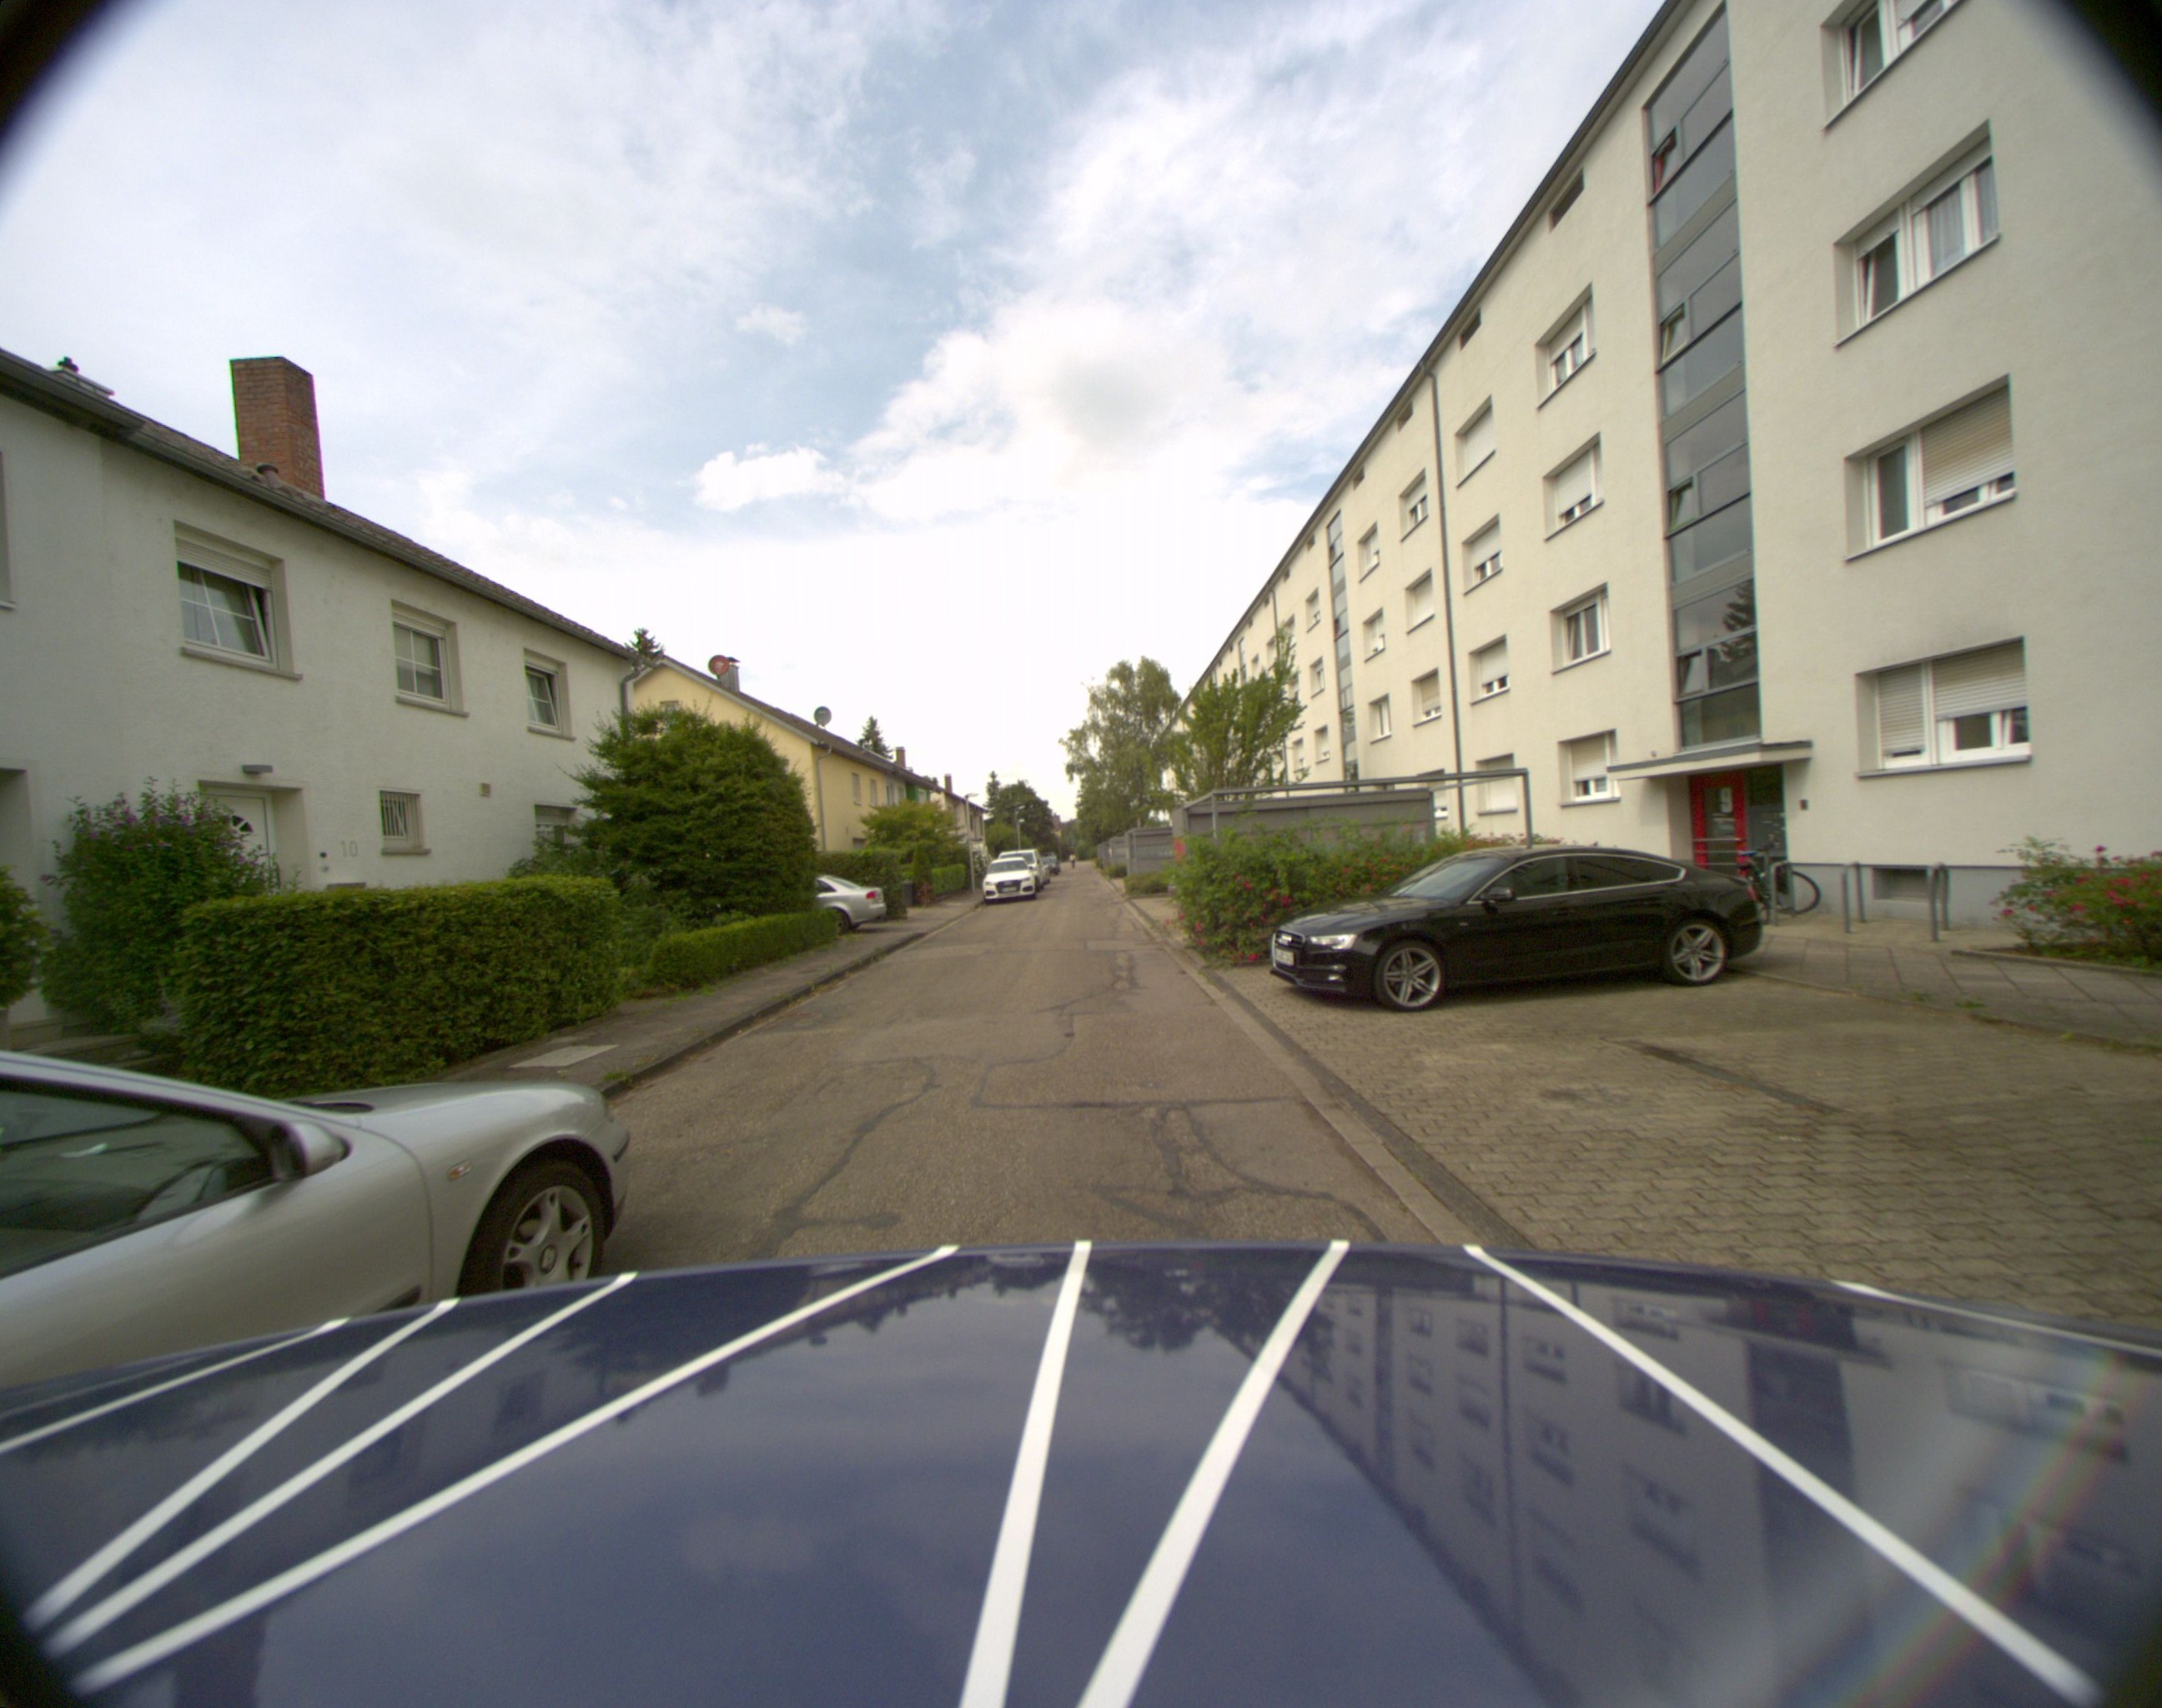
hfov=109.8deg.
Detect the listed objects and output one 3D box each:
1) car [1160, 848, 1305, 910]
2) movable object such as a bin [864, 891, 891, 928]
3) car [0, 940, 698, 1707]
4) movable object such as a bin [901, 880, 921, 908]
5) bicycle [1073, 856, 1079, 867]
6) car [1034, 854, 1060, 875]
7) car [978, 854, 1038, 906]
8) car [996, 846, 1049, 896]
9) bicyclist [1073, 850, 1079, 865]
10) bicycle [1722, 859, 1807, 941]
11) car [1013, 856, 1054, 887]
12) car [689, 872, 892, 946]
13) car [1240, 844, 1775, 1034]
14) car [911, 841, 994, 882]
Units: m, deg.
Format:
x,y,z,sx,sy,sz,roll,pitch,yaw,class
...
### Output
x,y,z,sx,sy,sz,roll,pitch,yaw,class
4.150,0.653,21.106,3.572,1.472,1.710,-3,1,-4,car
-5.403,1.463,20.215,0.511,0.916,0.500,-4,1,0,movable object such as a bin
-2.701,1.162,1.194,1.829,1.362,4.330,-6,0,1,car
-5.653,1.318,25.298,0.511,0.863,0.529,-4,1,0,movable object such as a bin
-0.510,0.744,78.109,0.598,1.070,2.042,-3,1,2,bicycle
-2.656,0.790,59.351,1.834,1.449,4.189,-5,0,-2,car
-2.612,0.889,28.084,1.830,1.626,4.160,-5,1,-3,car
-2.564,0.693,34.529,1.908,1.953,5.252,-5,1,0,car
-0.523,0.347,78.372,0.598,1.572,0.767,-3,1,1,bicyclist
8.968,0.579,9.953,1.389,0.951,0.393,-4,1,-30,bicycle
-2.599,0.922,42.577,1.788,1.412,4.455,-5,1,2,car
-6.629,1.224,17.752,4.032,1.419,1.852,-2,0,-6,car
4.045,0.726,7.661,4.337,1.368,1.922,-4,1,-5,car
-8.607,0.491,51.277,5.100,2.527,2.237,-3,1,1,car
